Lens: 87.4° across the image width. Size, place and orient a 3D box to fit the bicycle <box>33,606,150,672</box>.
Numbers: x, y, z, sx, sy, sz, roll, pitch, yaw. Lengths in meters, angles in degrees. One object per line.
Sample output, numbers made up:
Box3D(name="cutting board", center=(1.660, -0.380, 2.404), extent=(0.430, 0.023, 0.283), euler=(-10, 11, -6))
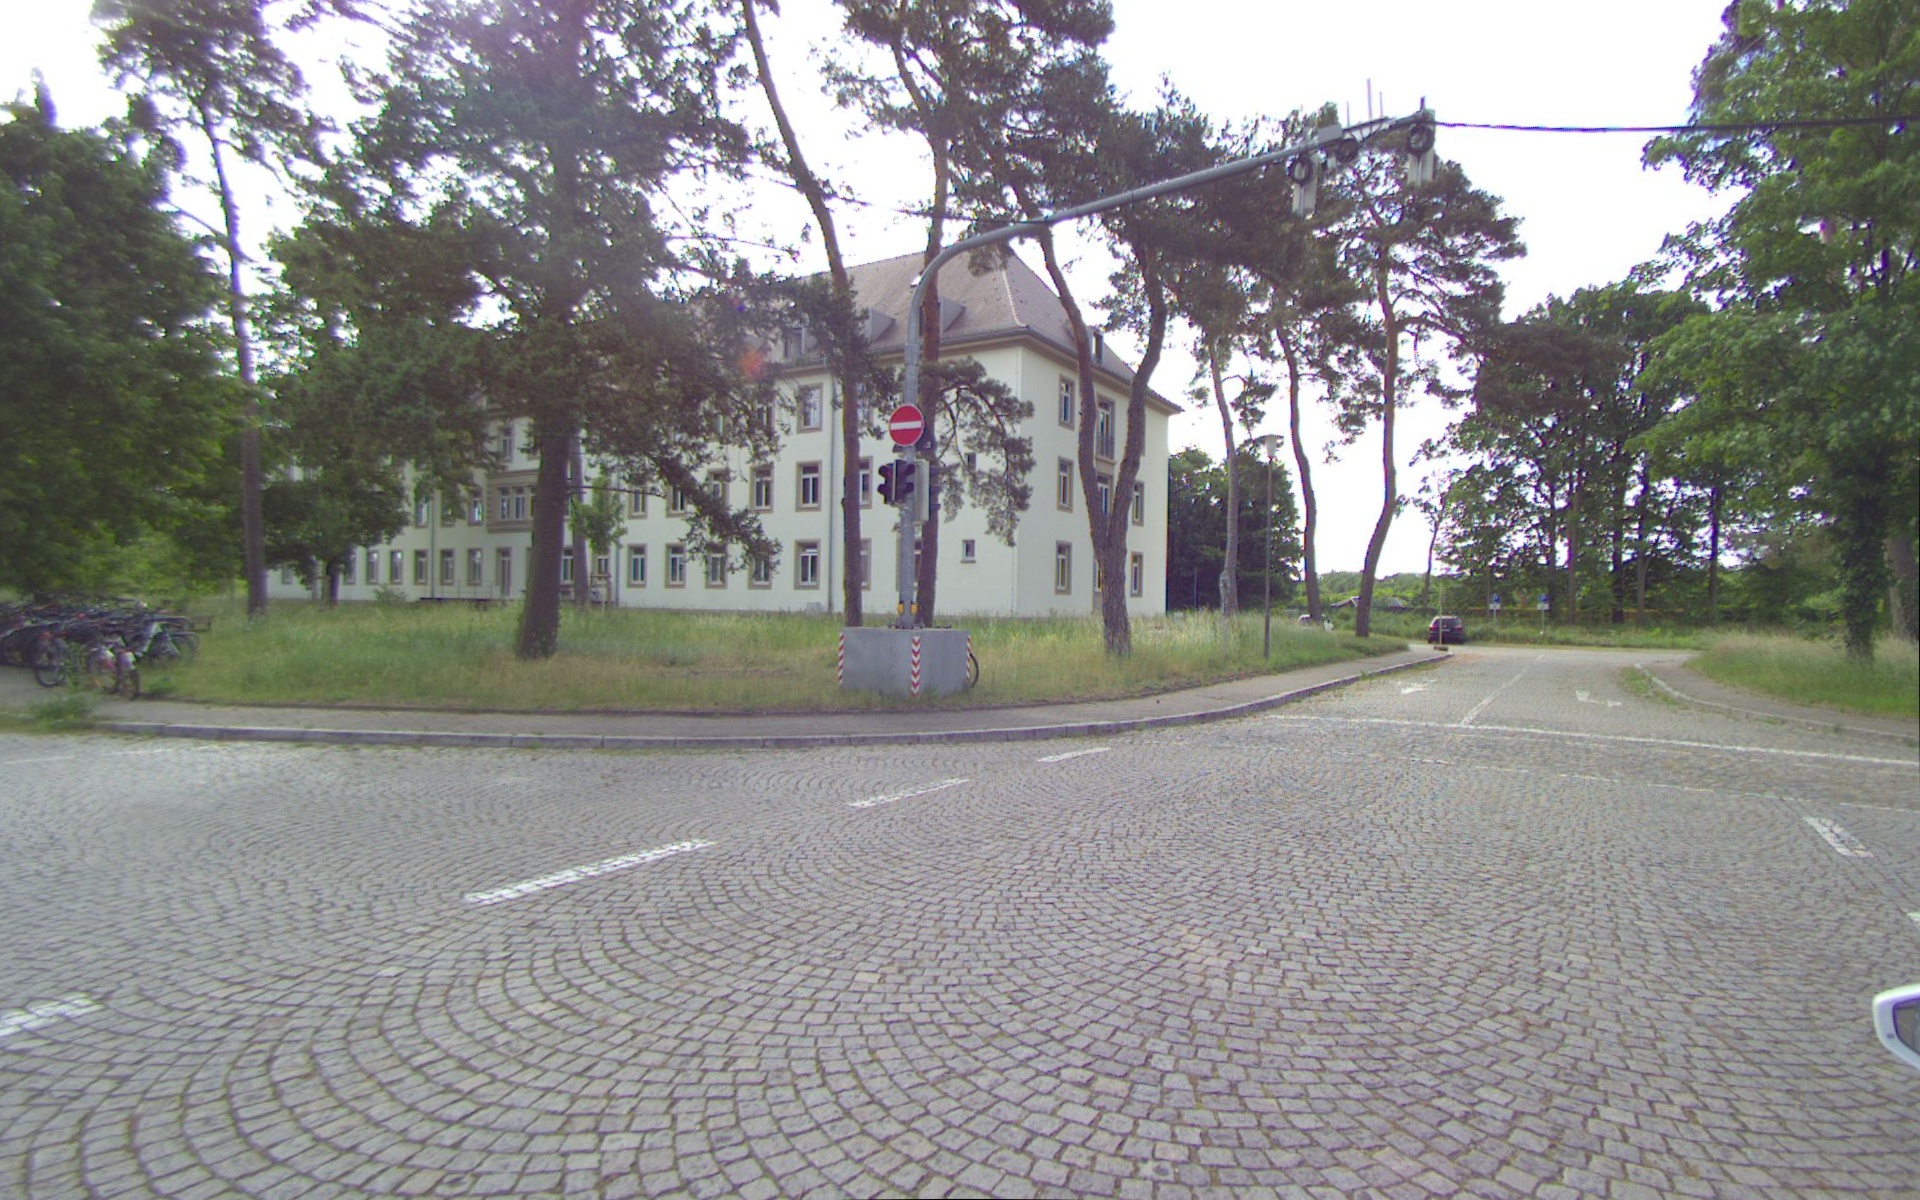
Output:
Box3D(name="bicycle", center=(-15.257, 0.664, 17.680), extent=(0.488, 1.053, 1.455), euler=(1, 3, 27))

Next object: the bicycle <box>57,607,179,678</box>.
Box3D(name="bicycle", center=(-13.840, 0.670, 16.552), extent=(0.488, 1.053, 1.456), euler=(1, 3, 25))

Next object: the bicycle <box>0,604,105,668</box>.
Box3D(name="bicycle", center=(-16.771, 0.640, 18.491), extent=(0.488, 1.053, 1.455), euler=(1, 3, 27))

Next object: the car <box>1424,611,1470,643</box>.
Box3D(name="car", center=(27.539, 1.499, 56.737), extent=(1.688, 1.632, 4.045), euler=(3, 1, 34))

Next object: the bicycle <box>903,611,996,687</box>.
Box3D(name="bicycle", center=(-0.166, 0.743, 15.621), extent=(1.391, 1.089, 0.497), euler=(1, 3, 30))

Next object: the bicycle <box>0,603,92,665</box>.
Box3D(name="bicycle", center=(-17.201, 0.619, 18.714), extent=(0.488, 1.053, 1.455), euler=(1, 3, 27))

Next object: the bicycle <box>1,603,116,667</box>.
Box3D(name="bicycle", center=(-16.365, 0.619, 18.271), extent=(0.488, 1.053, 1.455), euler=(1, 3, 27))

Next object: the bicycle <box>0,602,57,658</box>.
Box3D(name="bicycle", center=(-18.961, 0.592, 19.925), extent=(0.488, 1.053, 1.455), euler=(1, 3, 27))

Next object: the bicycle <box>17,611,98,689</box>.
Box3D(name="bicycle", center=(-13.315, 0.713, 14.809), extent=(1.392, 1.053, 0.496), euler=(2, 3, 32))

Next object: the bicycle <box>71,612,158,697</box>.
Box3D(name="bicycle", center=(-11.887, 0.743, 14.120), extent=(1.392, 1.089, 0.496), euler=(2, 3, 32))

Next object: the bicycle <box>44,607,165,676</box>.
Box3D(name="bicycle", center=(-14.467, 0.673, 17.025), extent=(0.488, 1.053, 1.455), euler=(1, 3, 27))

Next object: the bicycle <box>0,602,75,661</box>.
Box3D(name="bicycle", center=(-18.098, 0.594, 19.360), extent=(0.488, 1.053, 1.455), euler=(1, 3, 27))

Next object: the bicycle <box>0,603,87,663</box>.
Box3D(name="bicycle", center=(-17.670, 0.609, 19.136), extent=(0.488, 1.053, 1.455), euler=(1, 3, 27))

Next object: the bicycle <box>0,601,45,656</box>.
Box3D(name="bicycle", center=(-19.383, 0.588, 20.128), extent=(0.488, 1.053, 1.455), euler=(1, 3, 27))

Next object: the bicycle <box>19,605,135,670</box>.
Box3D(name="bicycle", center=(-15.757, 0.646, 17.964), extent=(0.488, 1.053, 1.455), euler=(1, 3, 27))

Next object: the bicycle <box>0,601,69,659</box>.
Box3D(name="bicycle", center=(-18.504, 0.588, 19.690), extent=(0.488, 1.053, 1.455), euler=(1, 3, 27))

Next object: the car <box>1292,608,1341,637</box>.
Box3D(name="car", center=(21.785, 1.320, 61.252), extent=(1.689, 1.632, 4.043), euler=(3, 1, 36))
